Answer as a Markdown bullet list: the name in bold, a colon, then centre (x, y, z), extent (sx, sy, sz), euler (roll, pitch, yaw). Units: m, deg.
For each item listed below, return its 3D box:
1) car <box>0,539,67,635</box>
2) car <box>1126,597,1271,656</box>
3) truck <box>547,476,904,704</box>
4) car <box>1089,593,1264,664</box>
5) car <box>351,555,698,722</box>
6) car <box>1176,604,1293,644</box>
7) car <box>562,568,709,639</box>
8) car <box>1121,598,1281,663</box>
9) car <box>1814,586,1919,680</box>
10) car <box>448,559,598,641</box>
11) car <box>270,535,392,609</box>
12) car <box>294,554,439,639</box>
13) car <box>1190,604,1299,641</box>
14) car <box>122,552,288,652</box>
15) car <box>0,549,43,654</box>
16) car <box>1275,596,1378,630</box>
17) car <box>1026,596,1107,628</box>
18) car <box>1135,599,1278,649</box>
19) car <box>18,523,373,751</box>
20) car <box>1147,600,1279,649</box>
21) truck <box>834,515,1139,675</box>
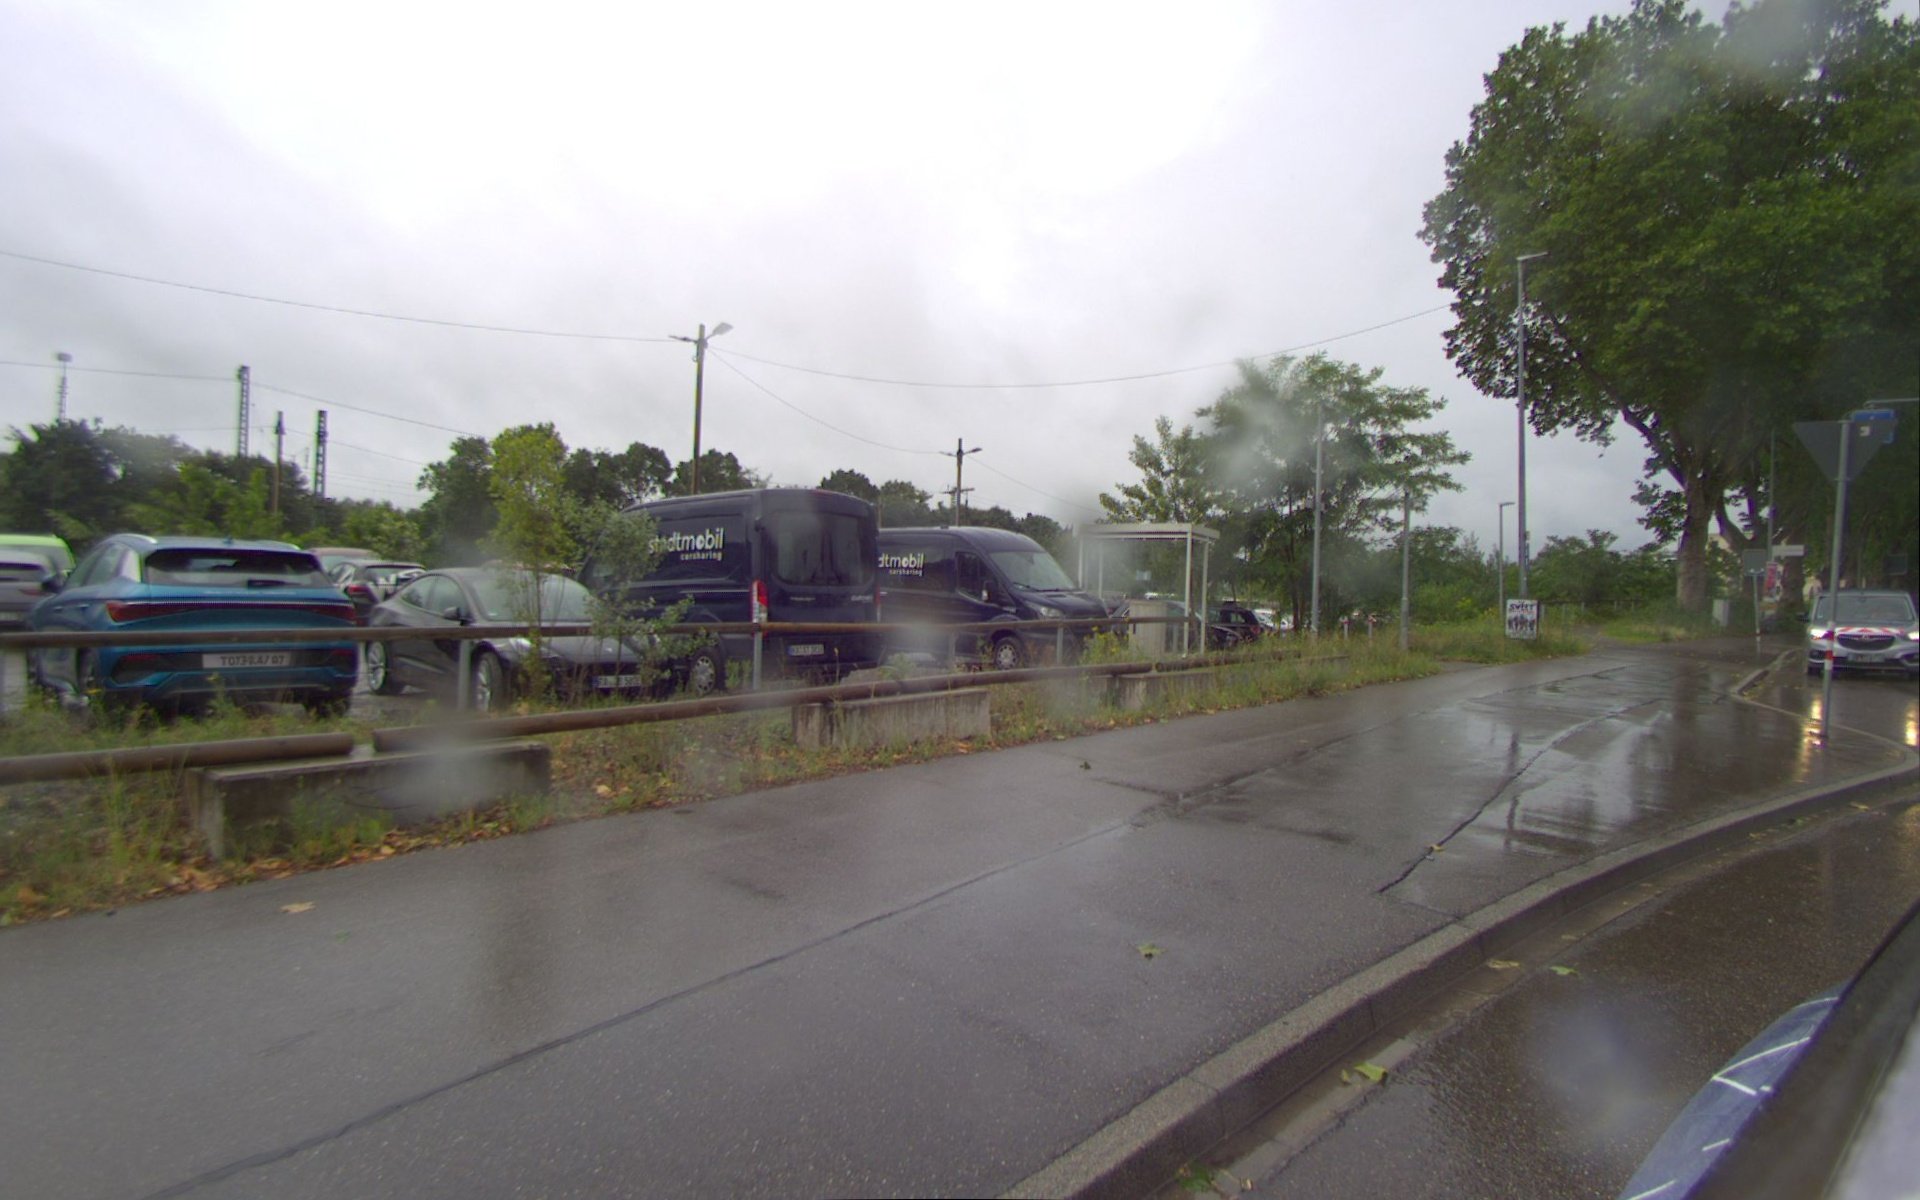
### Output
- **car**: centre (-19.482, -0.290, 20.736), extent (1.766, 1.822, 3.993), euler (0, 1, -42)
- **car**: centre (7.041, 0.730, 29.832), extent (3.952, 1.542, 1.863), euler (2, 1, 21)
- **truck**: centre (-3.234, -0.130, 13.290), extent (5.029, 2.433, 2.079), euler (0, 0, 42)
- **car**: centre (5.254, 0.643, 24.534), extent (3.952, 1.508, 1.693), euler (2, 1, 21)
- **car**: centre (-4.764, 0.308, 10.800), extent (4.156, 1.438, 1.836), euler (1, 1, 41)
- **car**: centre (11.619, 0.984, 42.866), extent (4.502, 1.484, 1.985), euler (2, 1, 27)
- **car**: centre (-7.887, 0.023, 24.420), extent (1.812, 1.467, 3.992), euler (-1, 3, -44)
- **car**: centre (6.472, 0.769, 27.112), extent (3.952, 1.522, 1.863), euler (2, 1, 21)
- **car**: centre (18.845, 0.601, 20.787), extent (1.833, 1.745, 4.108), euler (1, 1, 42)
- **car**: centre (-9.654, -0.068, 22.212), extent (1.777, 1.556, 3.957), euler (-1, 3, -44)
- **car**: centre (-15.553, -0.677, 24.952), extent (1.736, 1.660, 3.989), euler (0, 1, -44)
- **car**: centre (-12.058, -0.135, 20.460), extent (1.679, 1.498, 3.957), euler (-1, 3, -44)
- **car**: centre (12.678, 0.973, 45.100), extent (4.494, 1.448, 1.862), euler (2, 1, 22)
- **car**: centre (-13.424, -0.050, 17.897), extent (1.894, 1.508, 4.070), euler (-1, 3, -44)
- **car**: centre (-15.382, -0.045, 15.571), extent (1.791, 1.444, 3.957), euler (-1, 3, -44)
- **car**: centre (17.679, 0.610, 48.894), extent (4.364, 1.448, 1.854), euler (2, 1, 33)
- **car**: centre (5.430, 0.595, 51.893), extent (1.785, 1.455, 3.996), euler (1, 1, -39)
- **car**: centre (8.536, 0.787, 35.063), extent (4.592, 1.503, 1.862), euler (2, 1, 22)
- **car**: centre (-7.024, 0.236, 9.164), extent (3.892, 1.614, 1.869), euler (0, 1, 42)
- **car**: centre (9.345, 0.852, 37.400), extent (4.494, 1.579, 1.862), euler (2, 1, 22)
- **truck**: centre (0.293, -0.091, 17.484), extent (5.330, 2.352, 2.041), euler (1, 0, 44)
